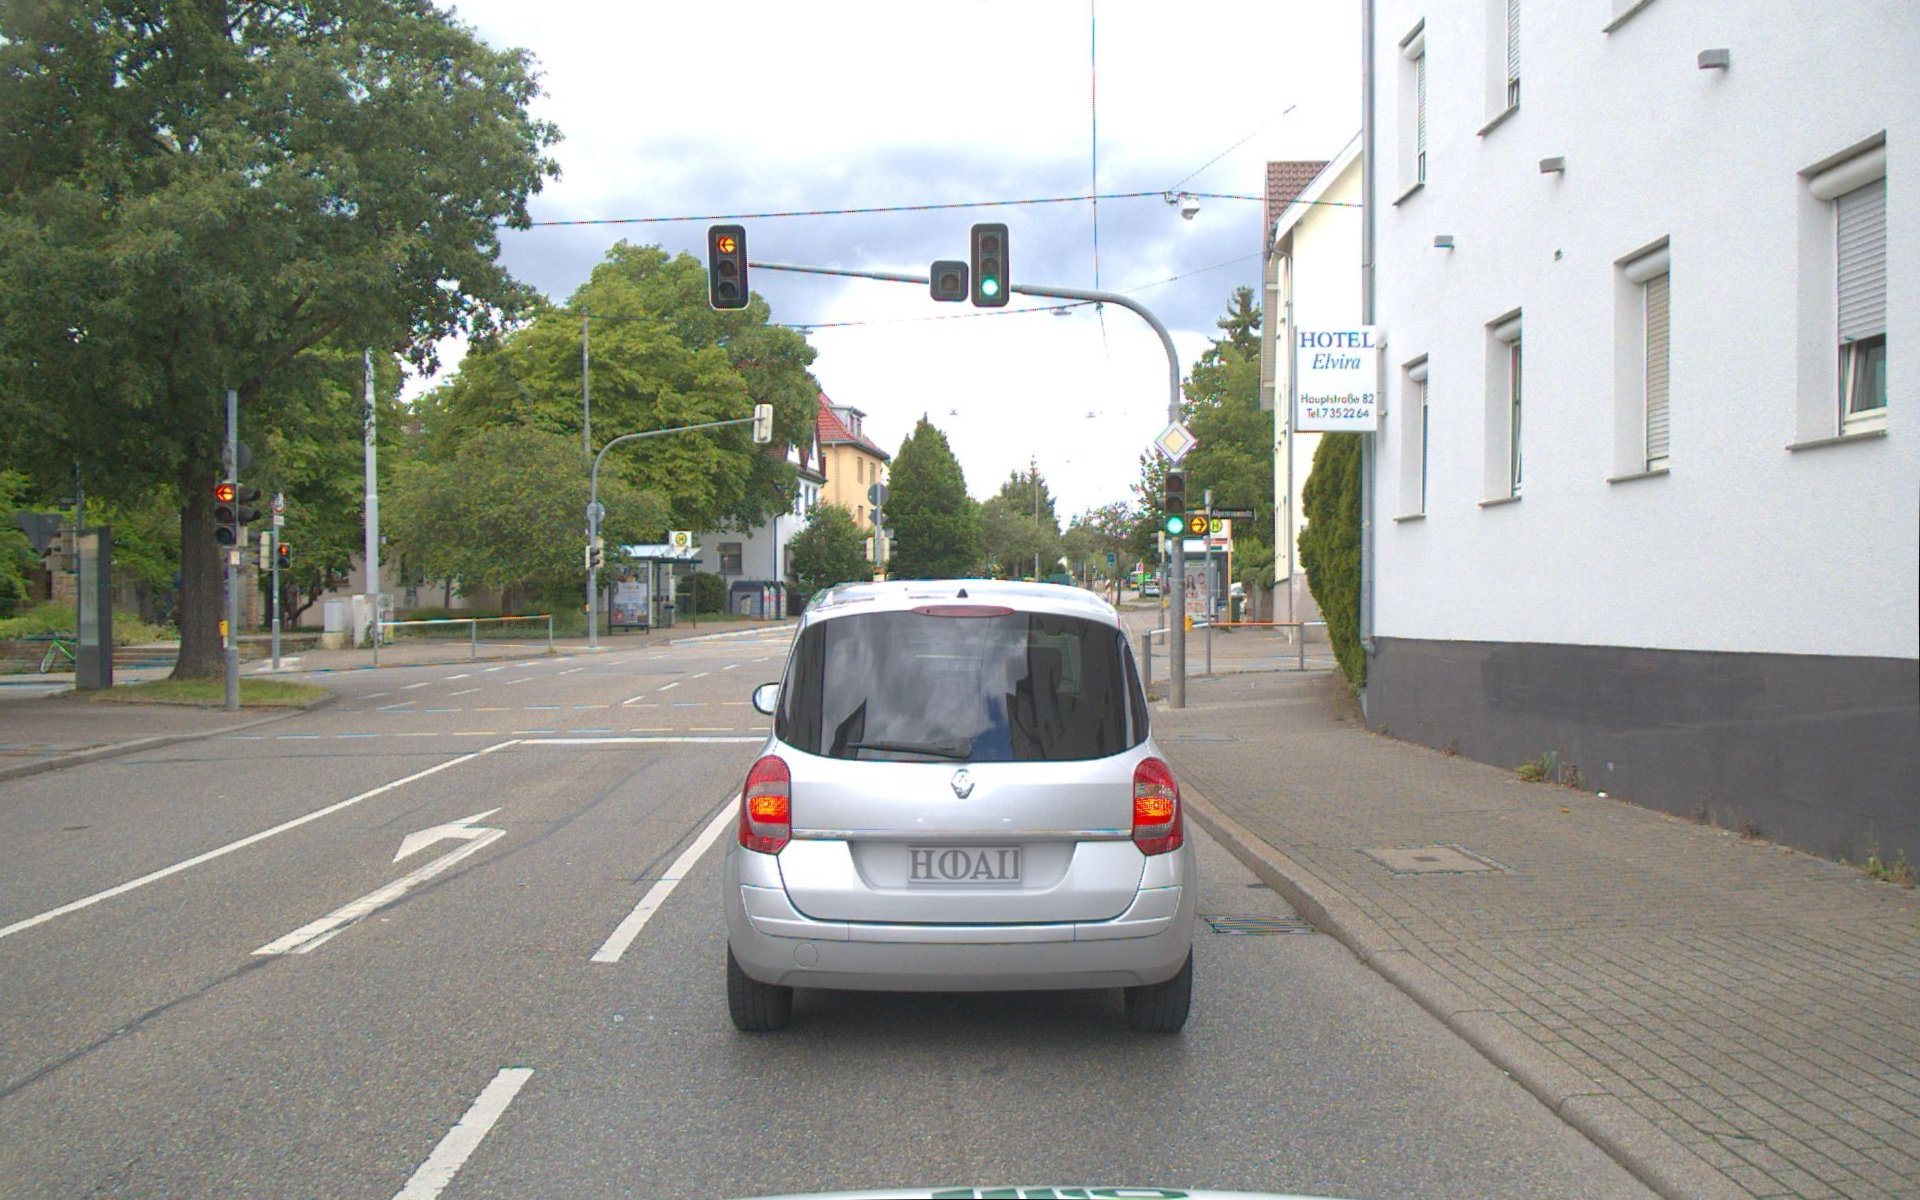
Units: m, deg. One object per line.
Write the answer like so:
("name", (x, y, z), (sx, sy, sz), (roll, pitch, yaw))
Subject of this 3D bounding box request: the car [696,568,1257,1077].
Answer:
("car", (0.015, 0.693, 7.100), (1.719, 1.557, 3.999), (1, 0, -1))

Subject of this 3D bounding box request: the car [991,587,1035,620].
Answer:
("car", (2.941, 0.189, 91.330), (1.818, 1.778, 4.003), (0, 0, 11))

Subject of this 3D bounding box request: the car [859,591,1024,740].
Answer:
("car", (-0.231, 0.695, 19.327), (1.719, 1.557, 3.796), (1, 0, -1))

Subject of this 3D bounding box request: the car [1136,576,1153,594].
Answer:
("car", (26.961, -2.119, 241.363), (2.015, 2.556, 5.600), (0, 0, 11))

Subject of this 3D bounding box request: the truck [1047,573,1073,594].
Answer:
("truck", (10.123, -1.638, 166.594), (2.056, 2.049, 5.752), (1, 0, 9))

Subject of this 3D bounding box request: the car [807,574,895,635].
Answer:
("car", (-3.522, 0.132, 54.038), (1.885, 1.804, 4.004), (-4, 0, 9))
